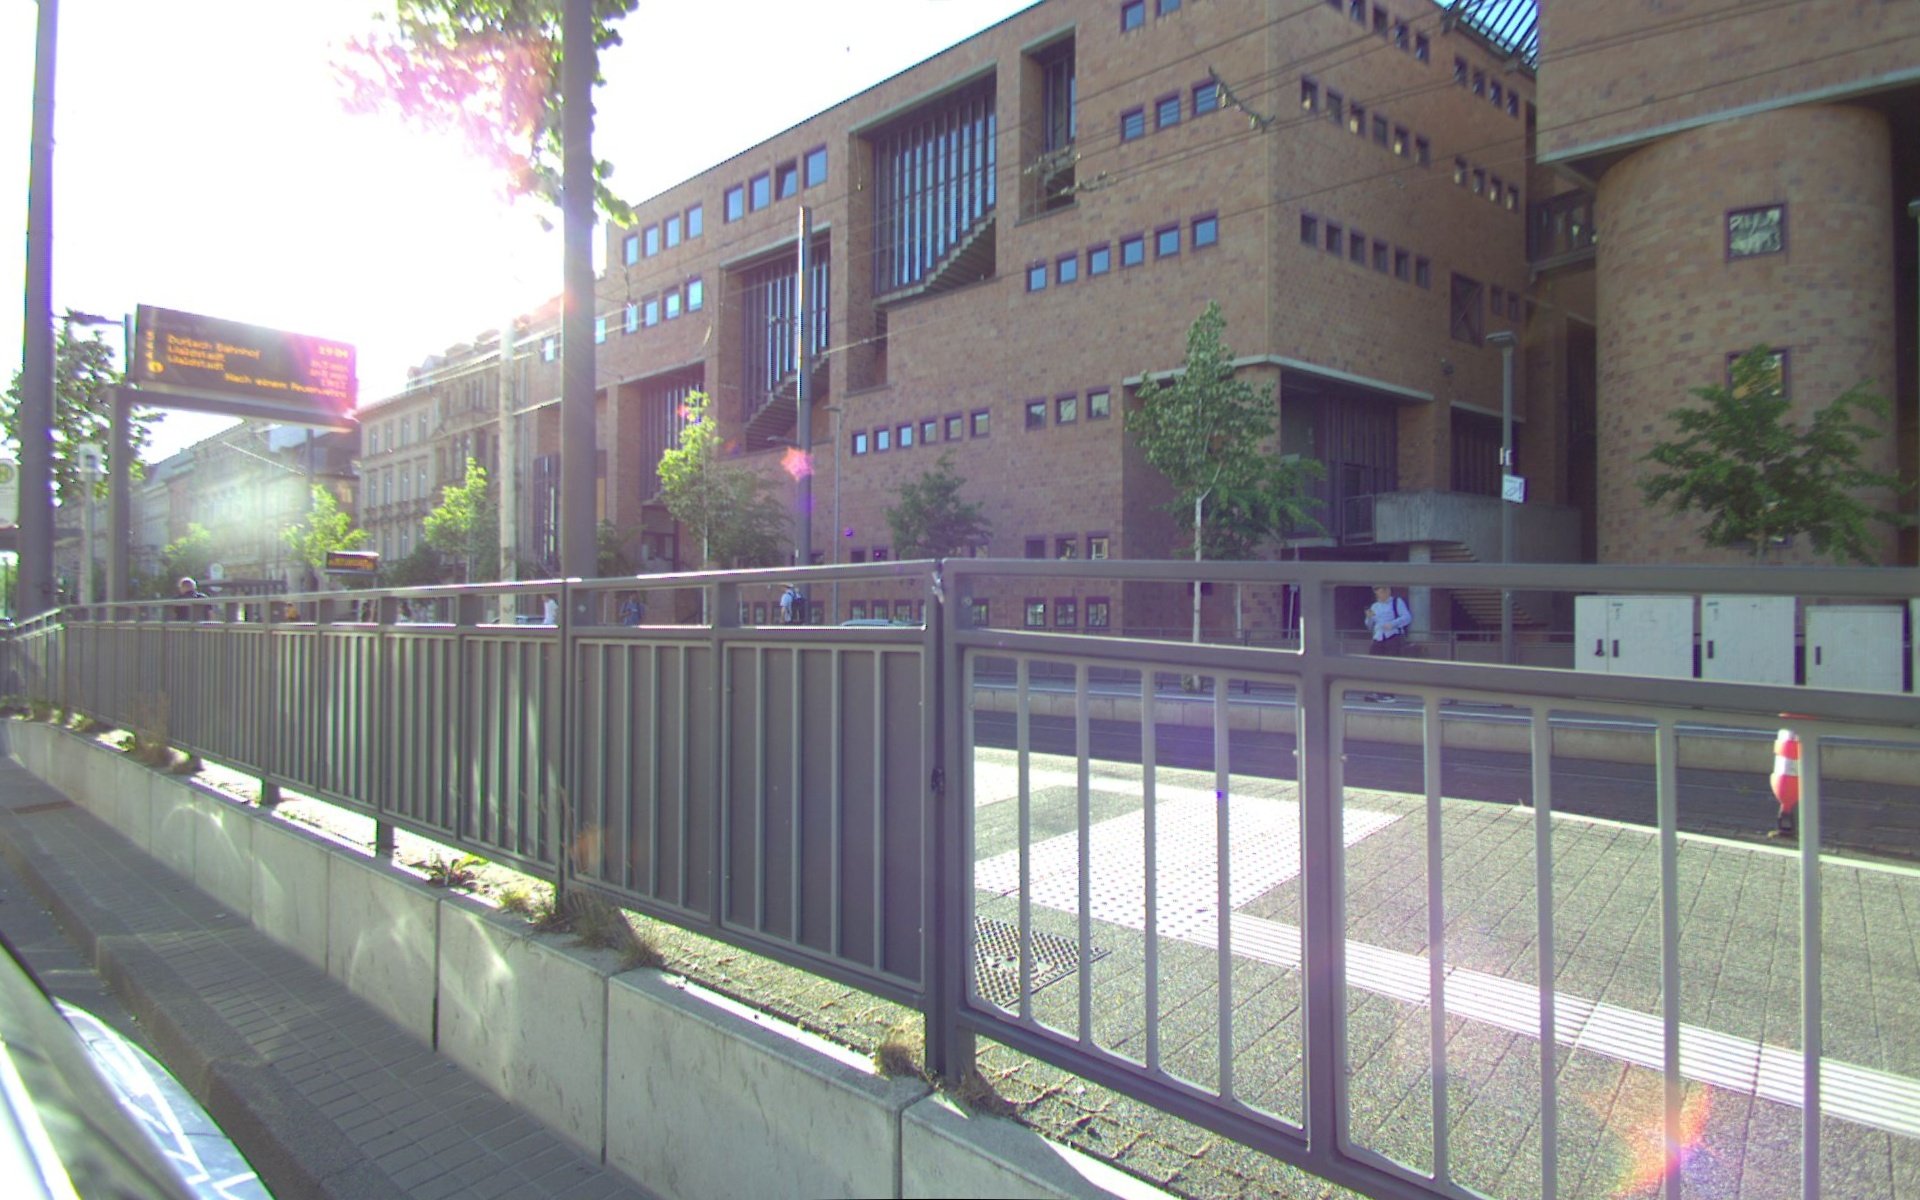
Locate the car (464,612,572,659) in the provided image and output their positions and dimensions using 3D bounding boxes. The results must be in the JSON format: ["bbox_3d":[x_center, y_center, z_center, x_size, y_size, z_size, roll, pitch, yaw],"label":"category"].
[{"bbox_3d":[-15.891,1.223,36.274,4.237,1.580,1.807,0,-2,39],"label":"car"}]

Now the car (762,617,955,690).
[{"bbox_3d":[-2.530,1.235,24.451,4.687,1.580,1.808,0,-2,38],"label":"car"}]

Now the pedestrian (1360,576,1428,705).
[{"bbox_3d":[5.762,0.516,13.436,0.684,1.647,0.660,0,0,37],"label":"pedestrian"}]

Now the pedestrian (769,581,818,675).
[{"bbox_3d":[-3.280,0.539,19.994,0.668,1.821,0.677,0,0,40],"label":"pedestrian"}]

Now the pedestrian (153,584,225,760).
[{"bbox_3d":[-11.102,1.005,14.571,0.625,2.461,0.676,0,0,38],"label":"pedestrian"}]
